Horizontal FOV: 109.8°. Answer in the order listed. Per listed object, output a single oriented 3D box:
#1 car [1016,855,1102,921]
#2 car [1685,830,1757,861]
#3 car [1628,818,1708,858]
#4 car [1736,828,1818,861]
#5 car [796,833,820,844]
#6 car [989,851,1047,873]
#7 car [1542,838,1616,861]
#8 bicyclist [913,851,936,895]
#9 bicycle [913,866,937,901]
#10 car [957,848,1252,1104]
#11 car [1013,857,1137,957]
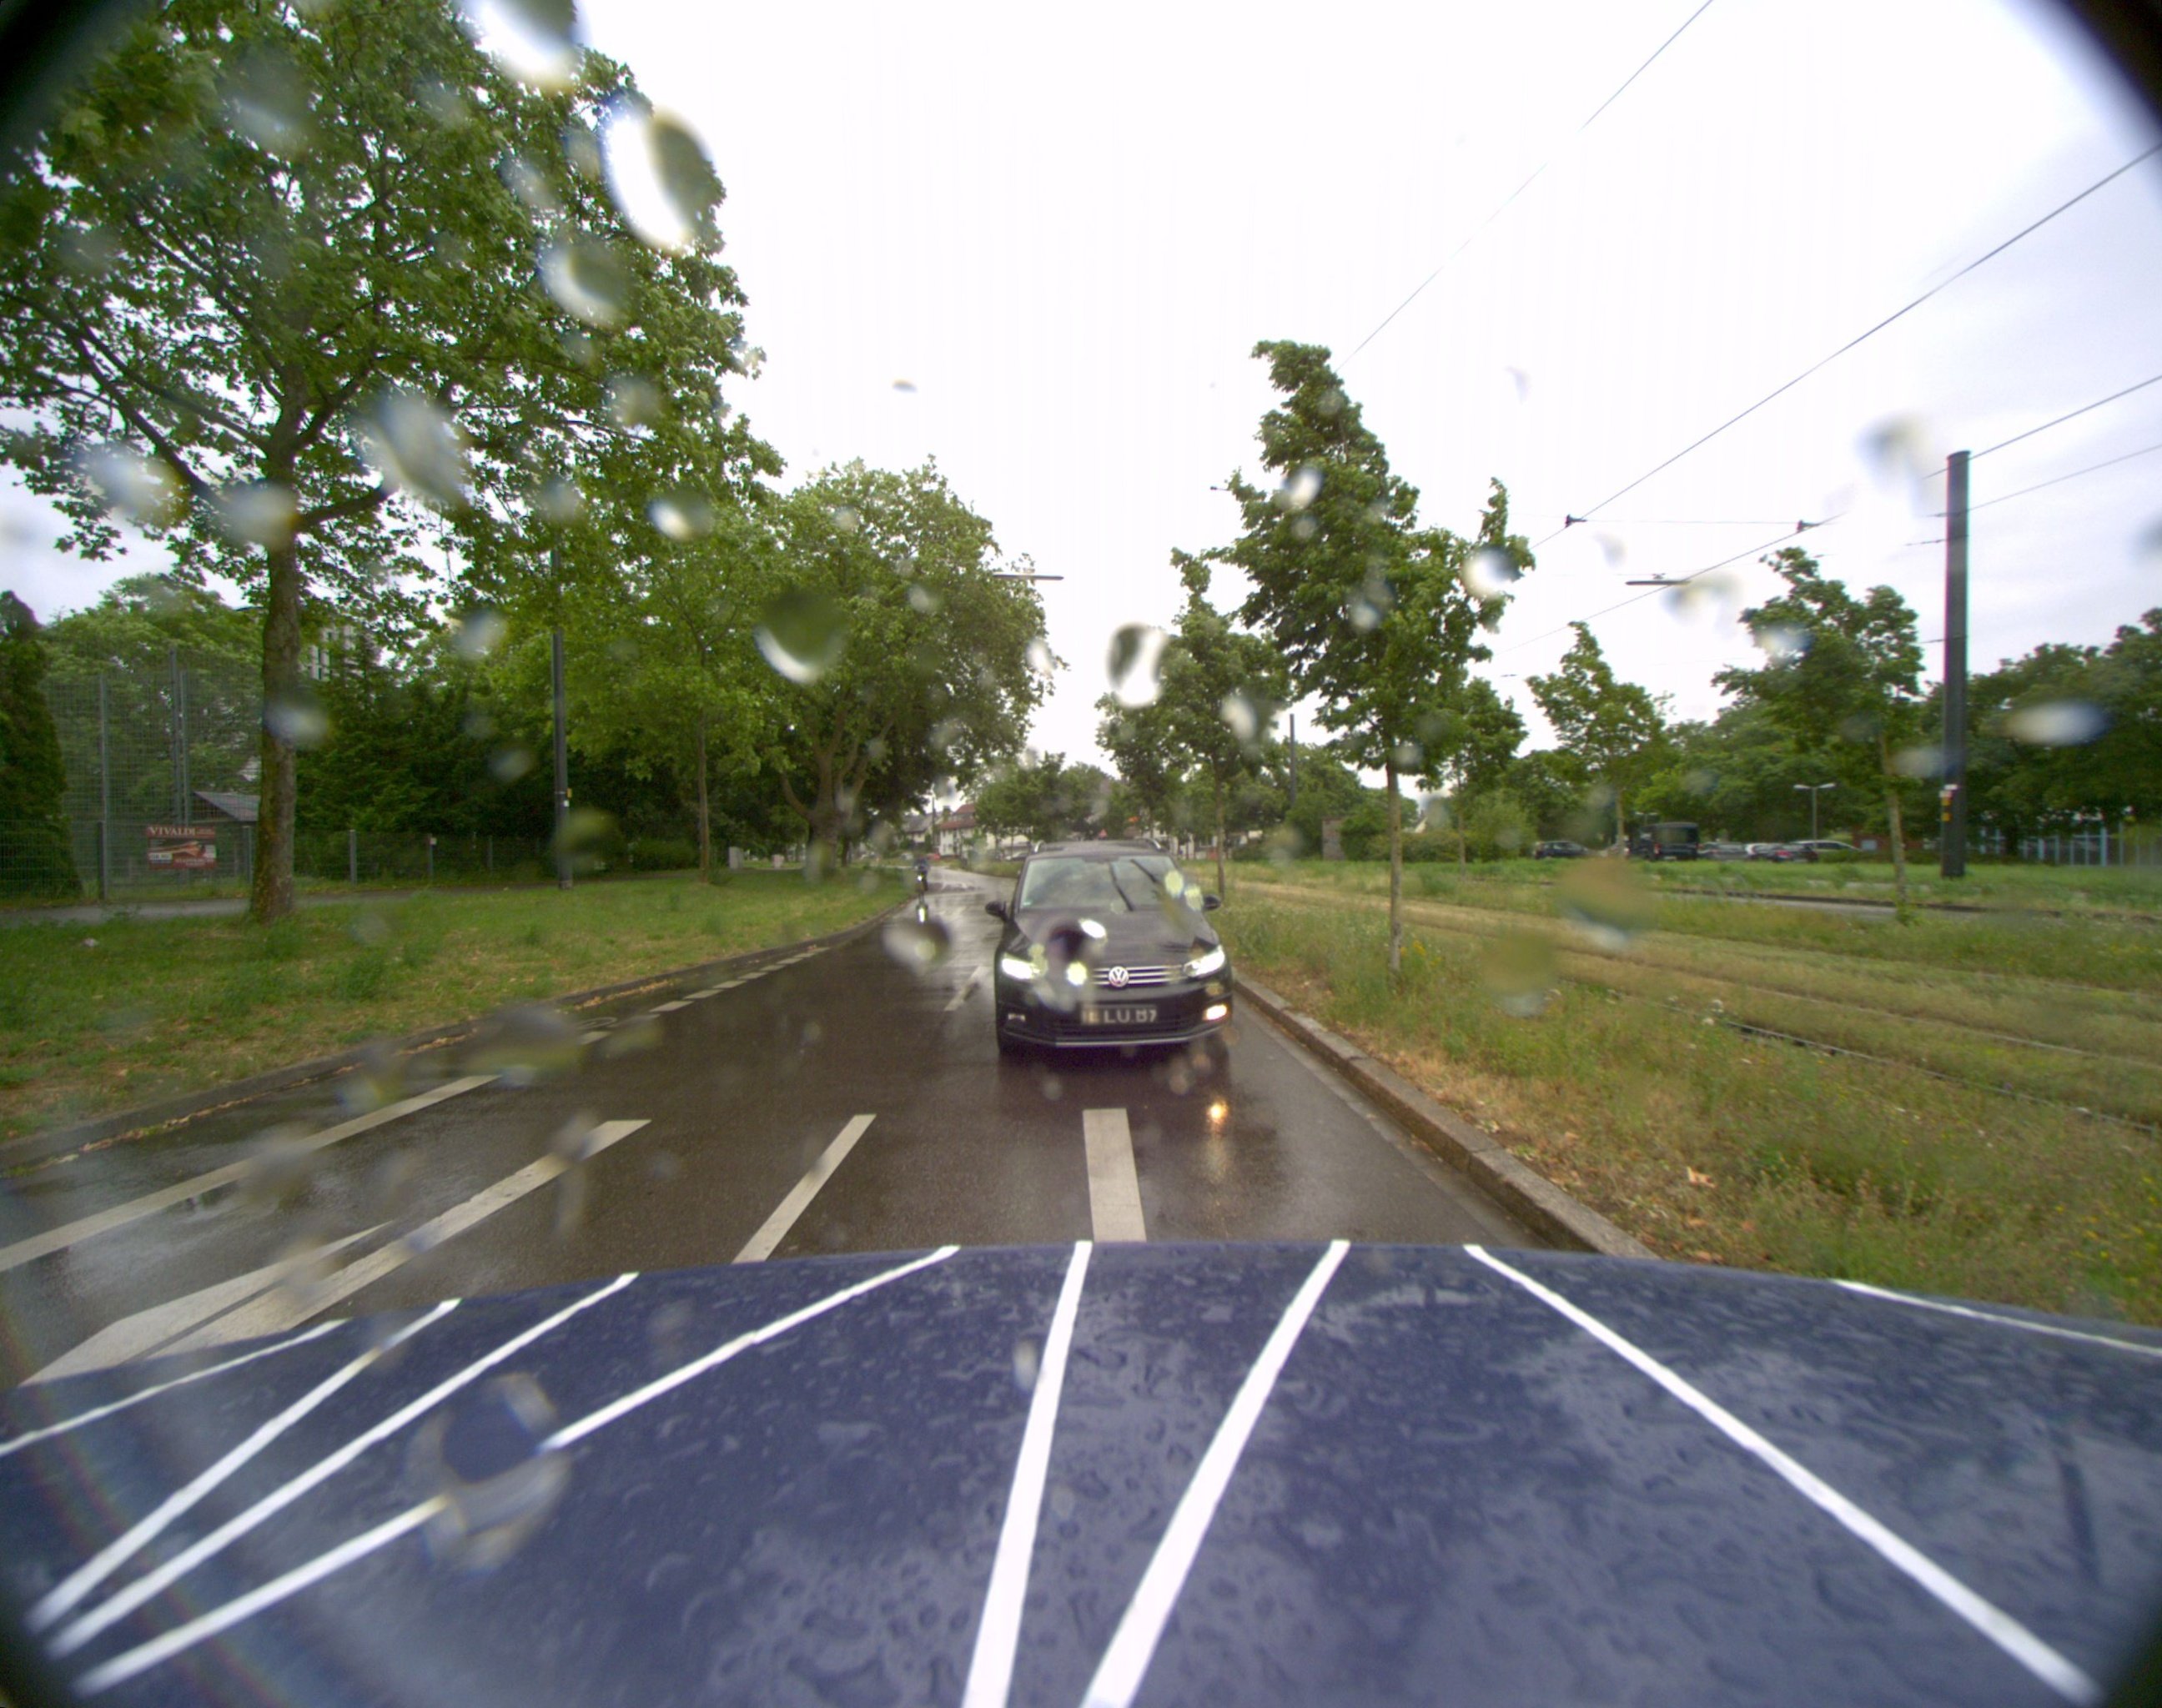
[{"bbox_3d":[-0.645,0.760,19.035,1.789,1.396,3.791,-2,1,-6],"label":"car"},{"bbox_3d":[34.643,-0.480,41.270,1.752,1.522,4.856,-2,1,24],"label":"car"},{"bbox_3d":[32.001,-0.877,41.587,2.307,2.002,5.125,-2,1,24],"label":"car"},{"bbox_3d":[36.569,-0.540,40.095,2.057,1.564,5.024,-2,1,29],"label":"car"},{"bbox_3d":[-51.595,-2.960,143.685,4.004,1.816,1.996,-3,1,-24],"label":"car"},{"bbox_3d":[-4.644,0.567,55.528,4.046,1.412,1.674,-2,1,-10],"label":"car"},{"bbox_3d":[35.060,-0.293,53.638,4.172,1.474,1.786,-2,1,27],"label":"car"},{"bbox_3d":[-5.513,0.652,26.857,0.693,1.497,0.843,-2,2,-8],"label":"bicyclist"},{"bbox_3d":[-5.504,1.024,26.871,0.693,1.110,1.883,-2,1,-8],"label":"bicycle"},{"bbox_3d":[0.178,0.782,7.225,1.866,1.592,4.524,-2,1,1],"label":"car"},{"bbox_3d":[-0.158,0.793,13.304,1.788,1.355,3.996,-2,1,-2],"label":"car"}]
